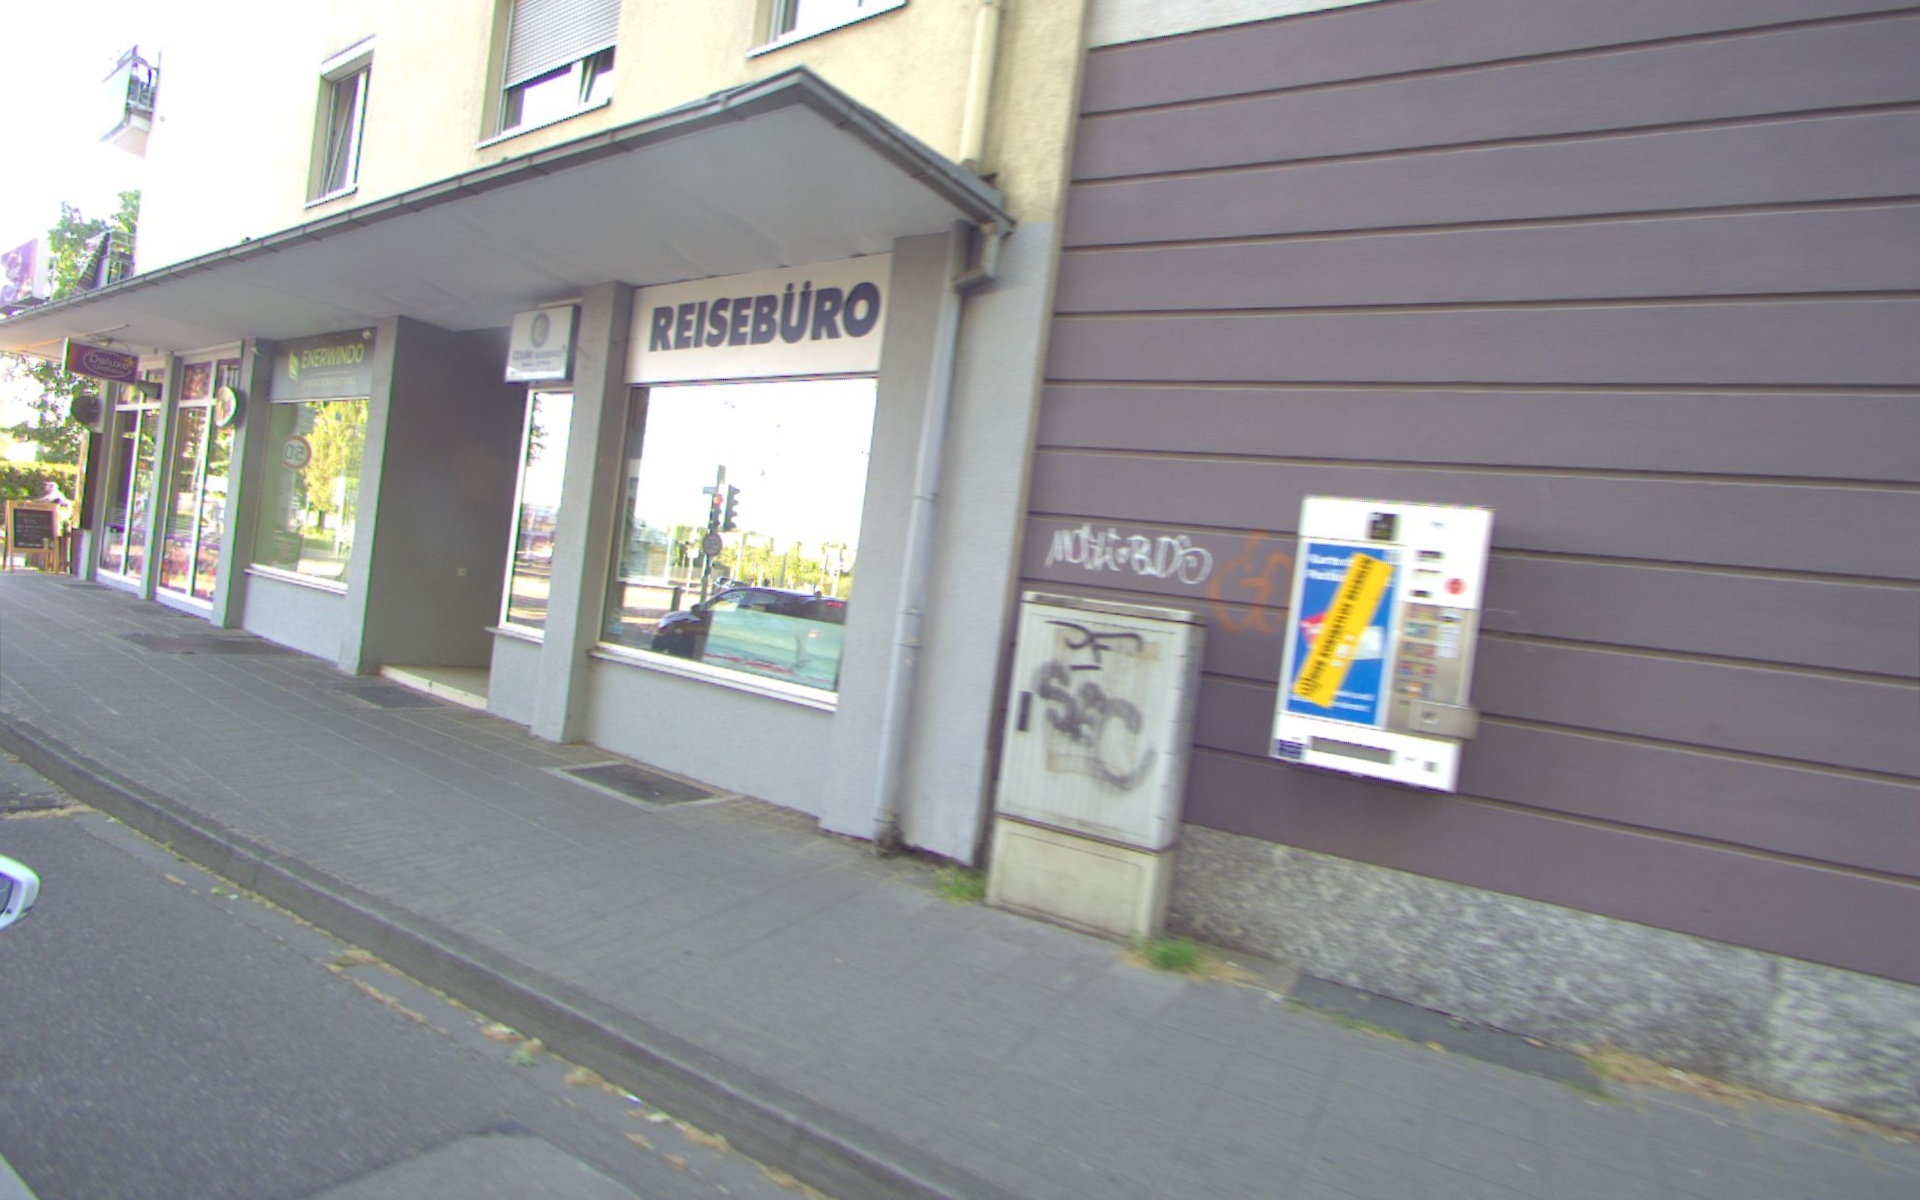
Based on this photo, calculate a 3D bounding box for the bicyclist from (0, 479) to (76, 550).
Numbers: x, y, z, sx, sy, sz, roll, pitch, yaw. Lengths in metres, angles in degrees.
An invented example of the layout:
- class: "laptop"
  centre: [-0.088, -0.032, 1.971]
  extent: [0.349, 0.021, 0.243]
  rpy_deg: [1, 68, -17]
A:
- class: "bicyclist"
  centre: [-22.924, -2.103, 24.918]
  extent: [0.904, 1.539, 1.116]
  rpy_deg: [7, 0, 19]

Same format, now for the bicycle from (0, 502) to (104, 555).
- class: "bicycle"
  centre: [-22.904, -1.785, 25.094]
  extent: [0.819, 1.046, 2.198]
  rpy_deg: [7, 0, 19]
